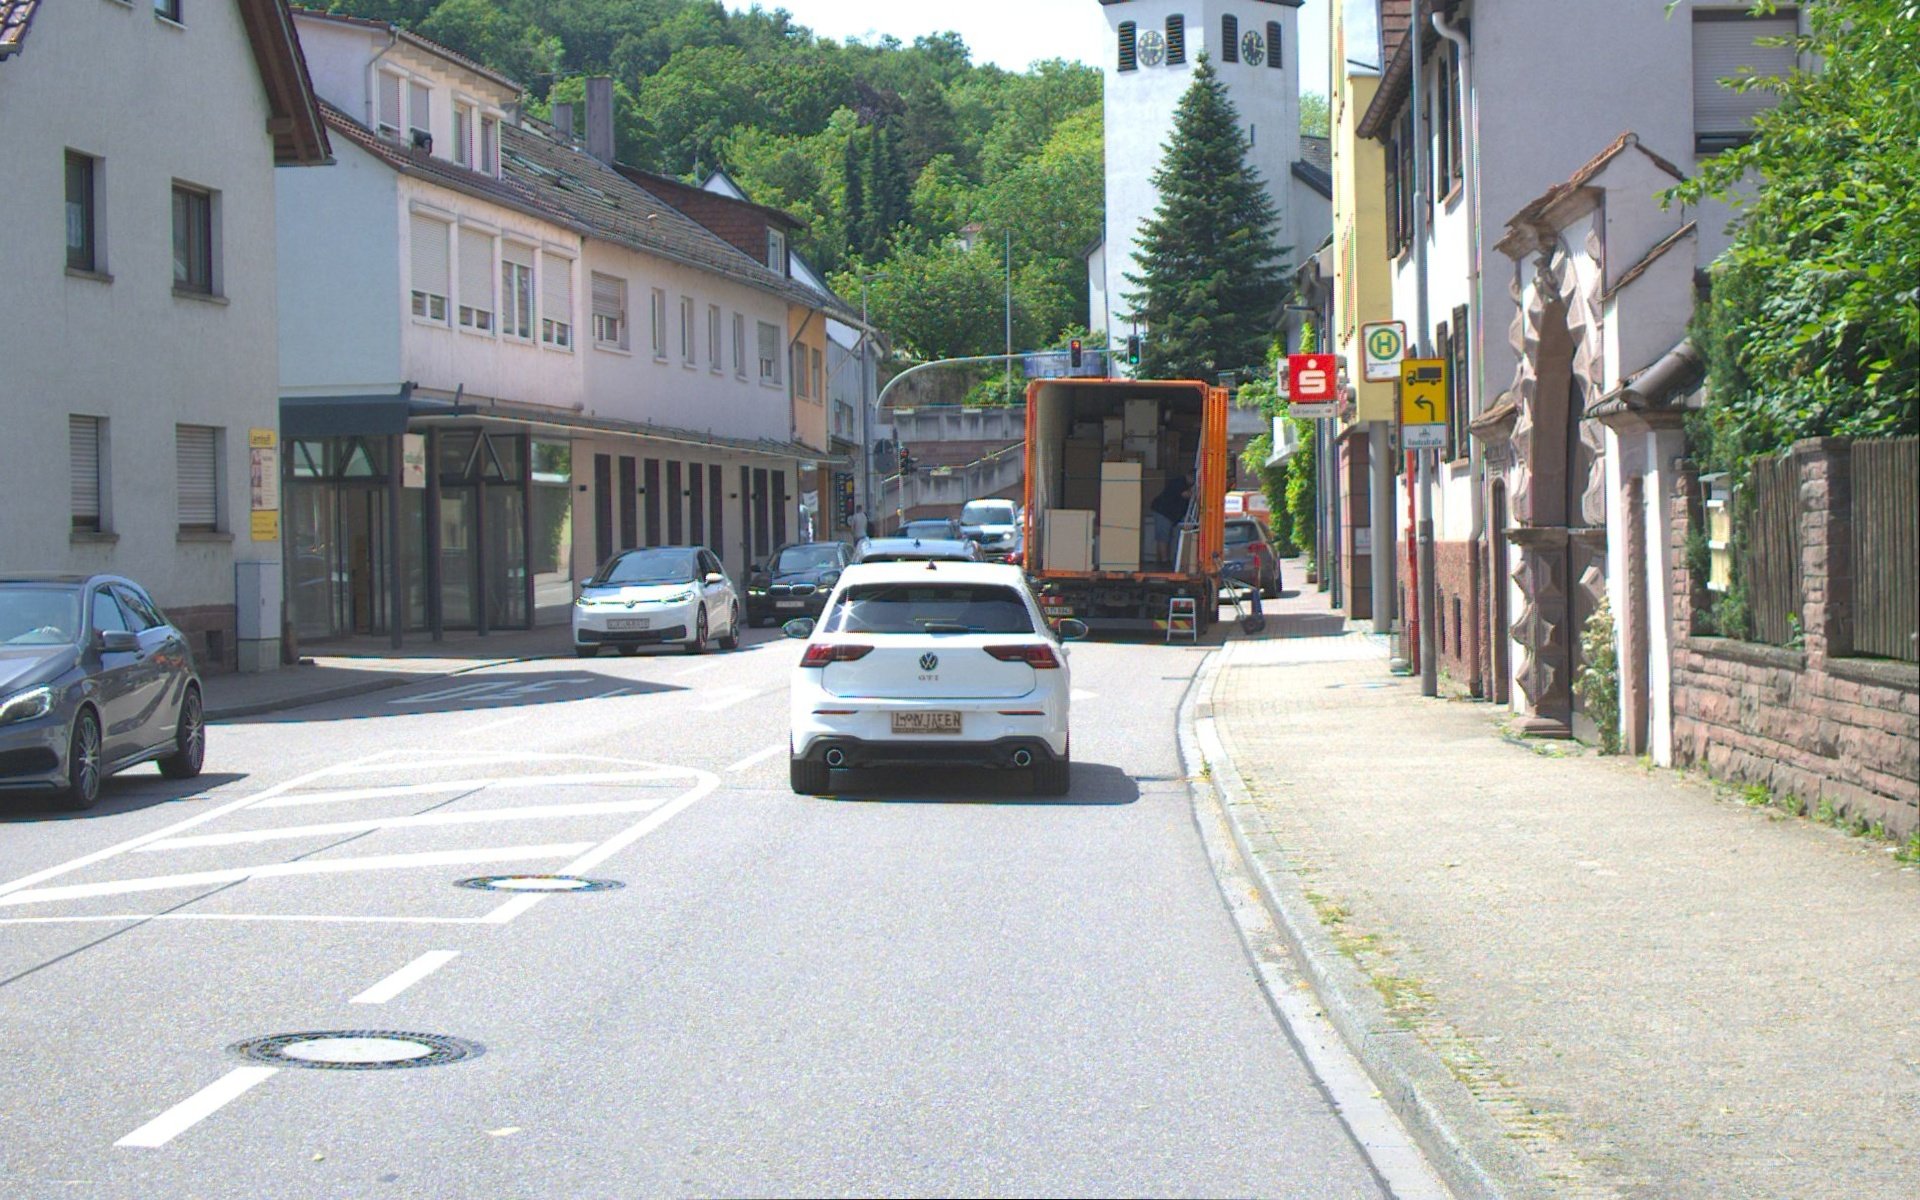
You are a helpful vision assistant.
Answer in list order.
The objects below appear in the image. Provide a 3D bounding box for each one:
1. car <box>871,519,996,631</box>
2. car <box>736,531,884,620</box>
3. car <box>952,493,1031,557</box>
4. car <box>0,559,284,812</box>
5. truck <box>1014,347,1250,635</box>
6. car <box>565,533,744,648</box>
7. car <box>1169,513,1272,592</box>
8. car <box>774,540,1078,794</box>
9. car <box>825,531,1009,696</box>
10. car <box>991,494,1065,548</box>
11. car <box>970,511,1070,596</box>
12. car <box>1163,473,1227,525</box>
[{"bbox_3d":[-0.381,-0.393,53.852,1.815,1.623,4.000,-2,0,1],"label":"car"},{"bbox_3d":[-2.660,-0.442,61.963,1.794,1.487,4.420,-2,0,9],"label":"car"},{"bbox_3d":[0.951,-2.205,100.638,1.802,1.773,4.704,-2,1,6],"label":"car"},{"bbox_3d":[-5.951,0.494,21.800,1.863,1.437,4.216,-2,0,9],"label":"car"},{"bbox_3d":[2.804,-1.648,55.749,3.367,4.156,9.518,-2,0,3],"label":"truck"},{"bbox_3d":[-4.299,-0.145,48.966,1.796,1.503,4.133,-2,0,5],"label":"car"},{"bbox_3d":[5.334,-0.963,70.813,1.815,1.514,4.000,-2,0,1],"label":"car"},{"bbox_3d":[-0.175,0.384,22.579,1.815,1.514,4.000,0,0,1],"label":"car"},{"bbox_3d":[-0.413,0.126,37.034,1.815,1.623,4.000,-2,0,1],"label":"car"},{"bbox_3d":[2.271,-2.593,113.349,1.994,1.645,3.999,-2,0,7],"label":"car"},{"bbox_3d":[1.147,-0.880,65.929,1.815,1.514,4.000,-2,0,1],"label":"car"},{"bbox_3d":[7.567,-3.242,110.940,1.815,1.514,4.000,-2,0,1],"label":"car"}]
